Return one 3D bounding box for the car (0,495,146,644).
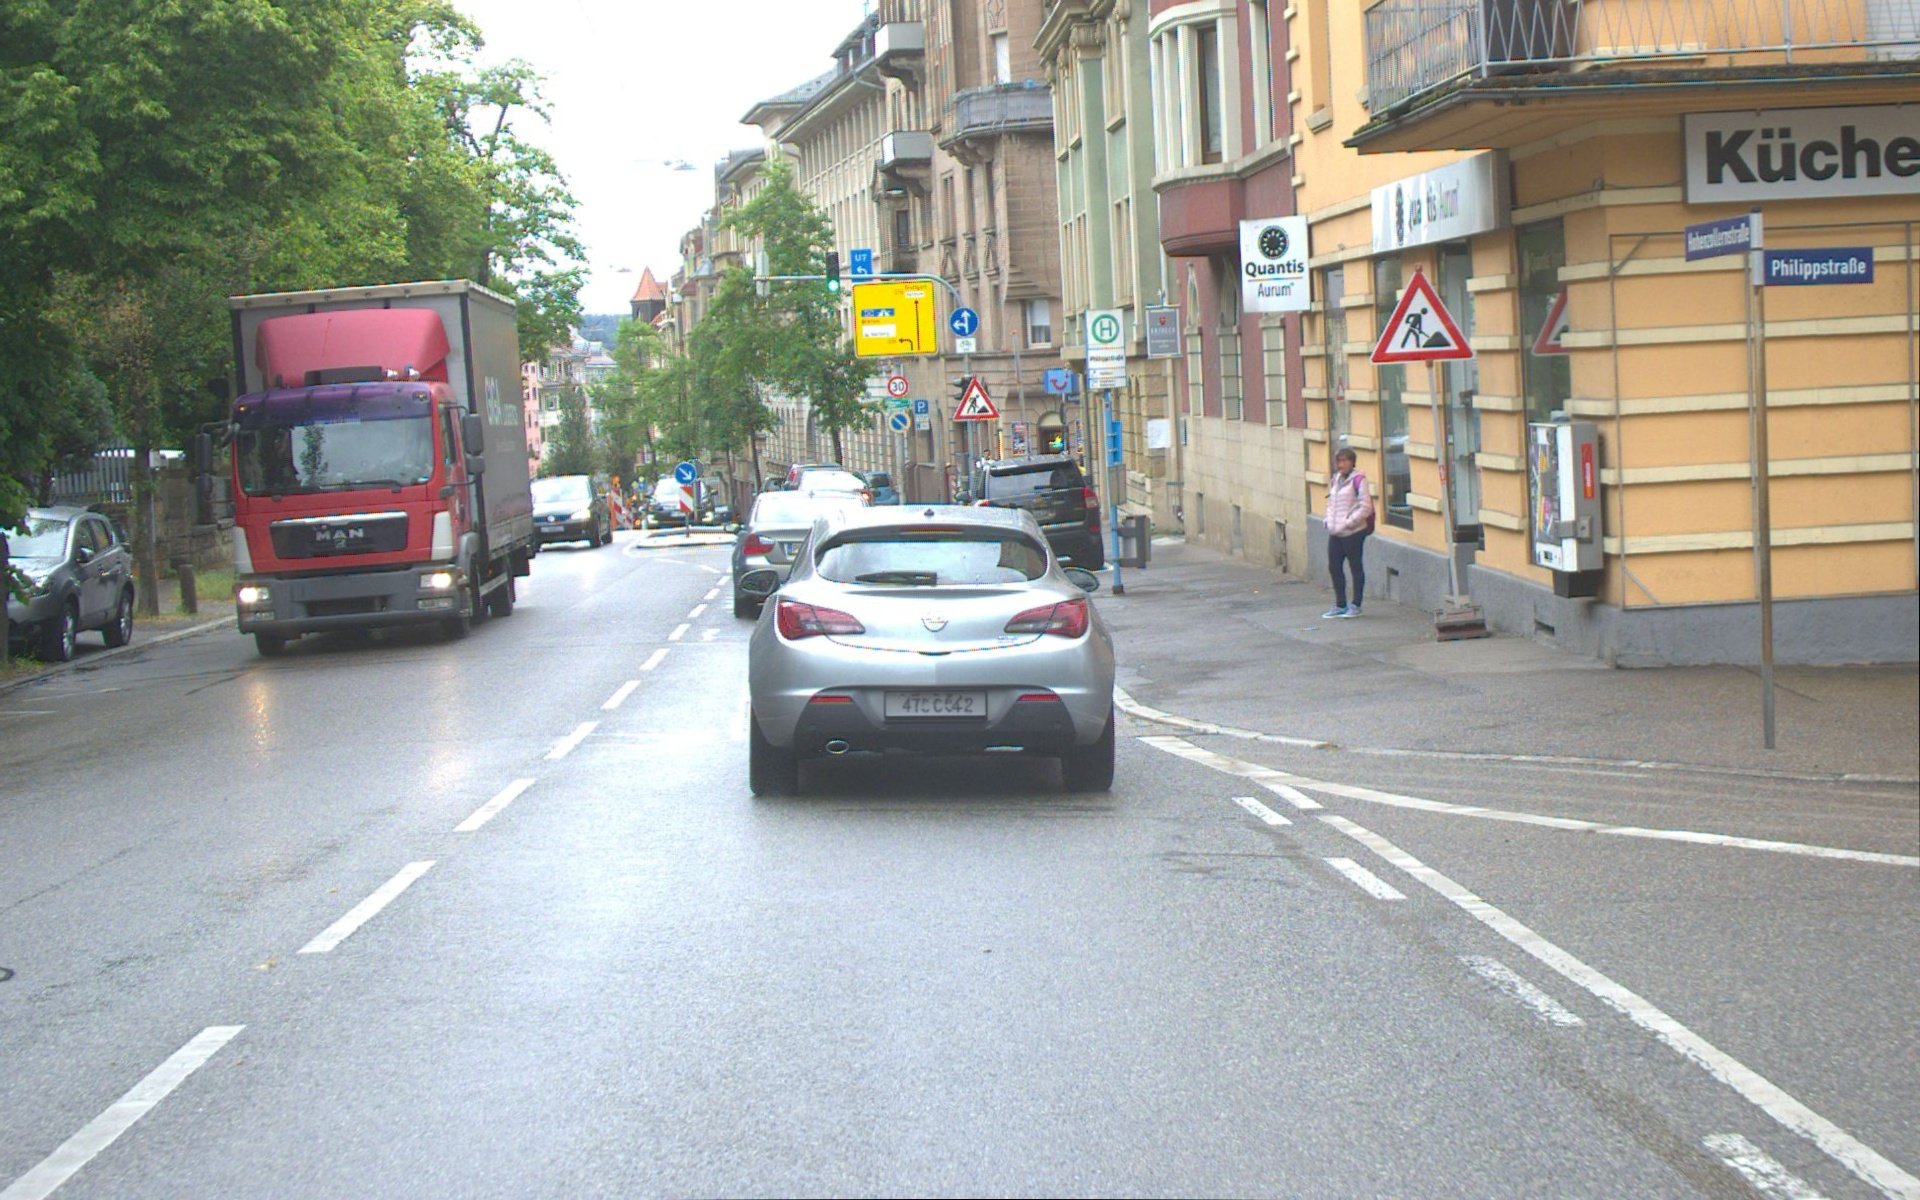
[{"bbox_3d":[-10.360,-0.375,38.059,1.741,1.554,4.303,-1,2,-1],"label":"car"}]

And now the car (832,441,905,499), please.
[{"bbox_3d":[-2.789,-3.899,103.813,1.656,1.537,3.666,-5,2,-8],"label":"car"}]

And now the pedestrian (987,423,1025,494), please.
[{"bbox_3d":[1.055,-3.256,79.025,0.597,1.579,0.665,-4,3,17],"label":"pedestrian"}]

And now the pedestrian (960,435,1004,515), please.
[{"bbox_3d":[0.504,-2.882,79.253,0.718,1.768,0.665,-4,3,17],"label":"pedestrian"}]

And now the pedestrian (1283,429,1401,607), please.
[{"bbox_3d":[3.527,-0.757,31.782,0.766,1.584,0.712,-4,2,-20],"label":"pedestrian"}]

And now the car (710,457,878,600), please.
[{"bbox_3d":[-1.845,-0.831,39.115,1.772,1.499,3.870,-2,2,-1],"label":"car"}]

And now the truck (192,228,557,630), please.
[{"bbox_3d":[-6.415,-1.891,39.159,2.647,3.841,9.309,-5,2,-2],"label":"truck"}]

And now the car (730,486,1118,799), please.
[{"bbox_3d":[-0.197,0.142,18.334,1.811,1.444,3.869,-2,2,-1],"label":"car"}]

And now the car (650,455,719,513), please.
[{"bbox_3d":[-7.593,-3.222,95.001,1.815,1.512,4.549,-2,2,-4],"label":"car"}]

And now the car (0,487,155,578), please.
[{"bbox_3d":[-15.370,-1.068,56.163,3.986,1.322,1.837,-3,3,-3],"label":"car"}]

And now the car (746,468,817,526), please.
[{"bbox_3d":[-5.354,-3.074,102.853,1.656,1.537,3.666,-5,2,-8],"label":"car"}]

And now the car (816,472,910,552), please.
[{"bbox_3d":[-1.928,-1.761,68.575,1.772,1.499,3.870,-2,2,-1],"label":"car"}]

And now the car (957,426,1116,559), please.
[{"bbox_3d":[1.032,-1.519,48.773,1.877,1.624,4.698,-6,2,-1],"label":"car"}]

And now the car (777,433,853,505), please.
[{"bbox_3d":[-3.460,-3.114,82.306,1.656,1.537,3.666,-5,2,-2],"label":"car"}]

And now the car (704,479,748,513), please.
[{"bbox_3d":[-10.748,-4.765,157.714,1.637,1.424,3.377,-4,2,-9],"label":"car"}]

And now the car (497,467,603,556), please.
[{"bbox_3d":[-8.397,-1.847,70.724,1.772,1.512,4.592,-3,4,-3],"label":"car"}]
